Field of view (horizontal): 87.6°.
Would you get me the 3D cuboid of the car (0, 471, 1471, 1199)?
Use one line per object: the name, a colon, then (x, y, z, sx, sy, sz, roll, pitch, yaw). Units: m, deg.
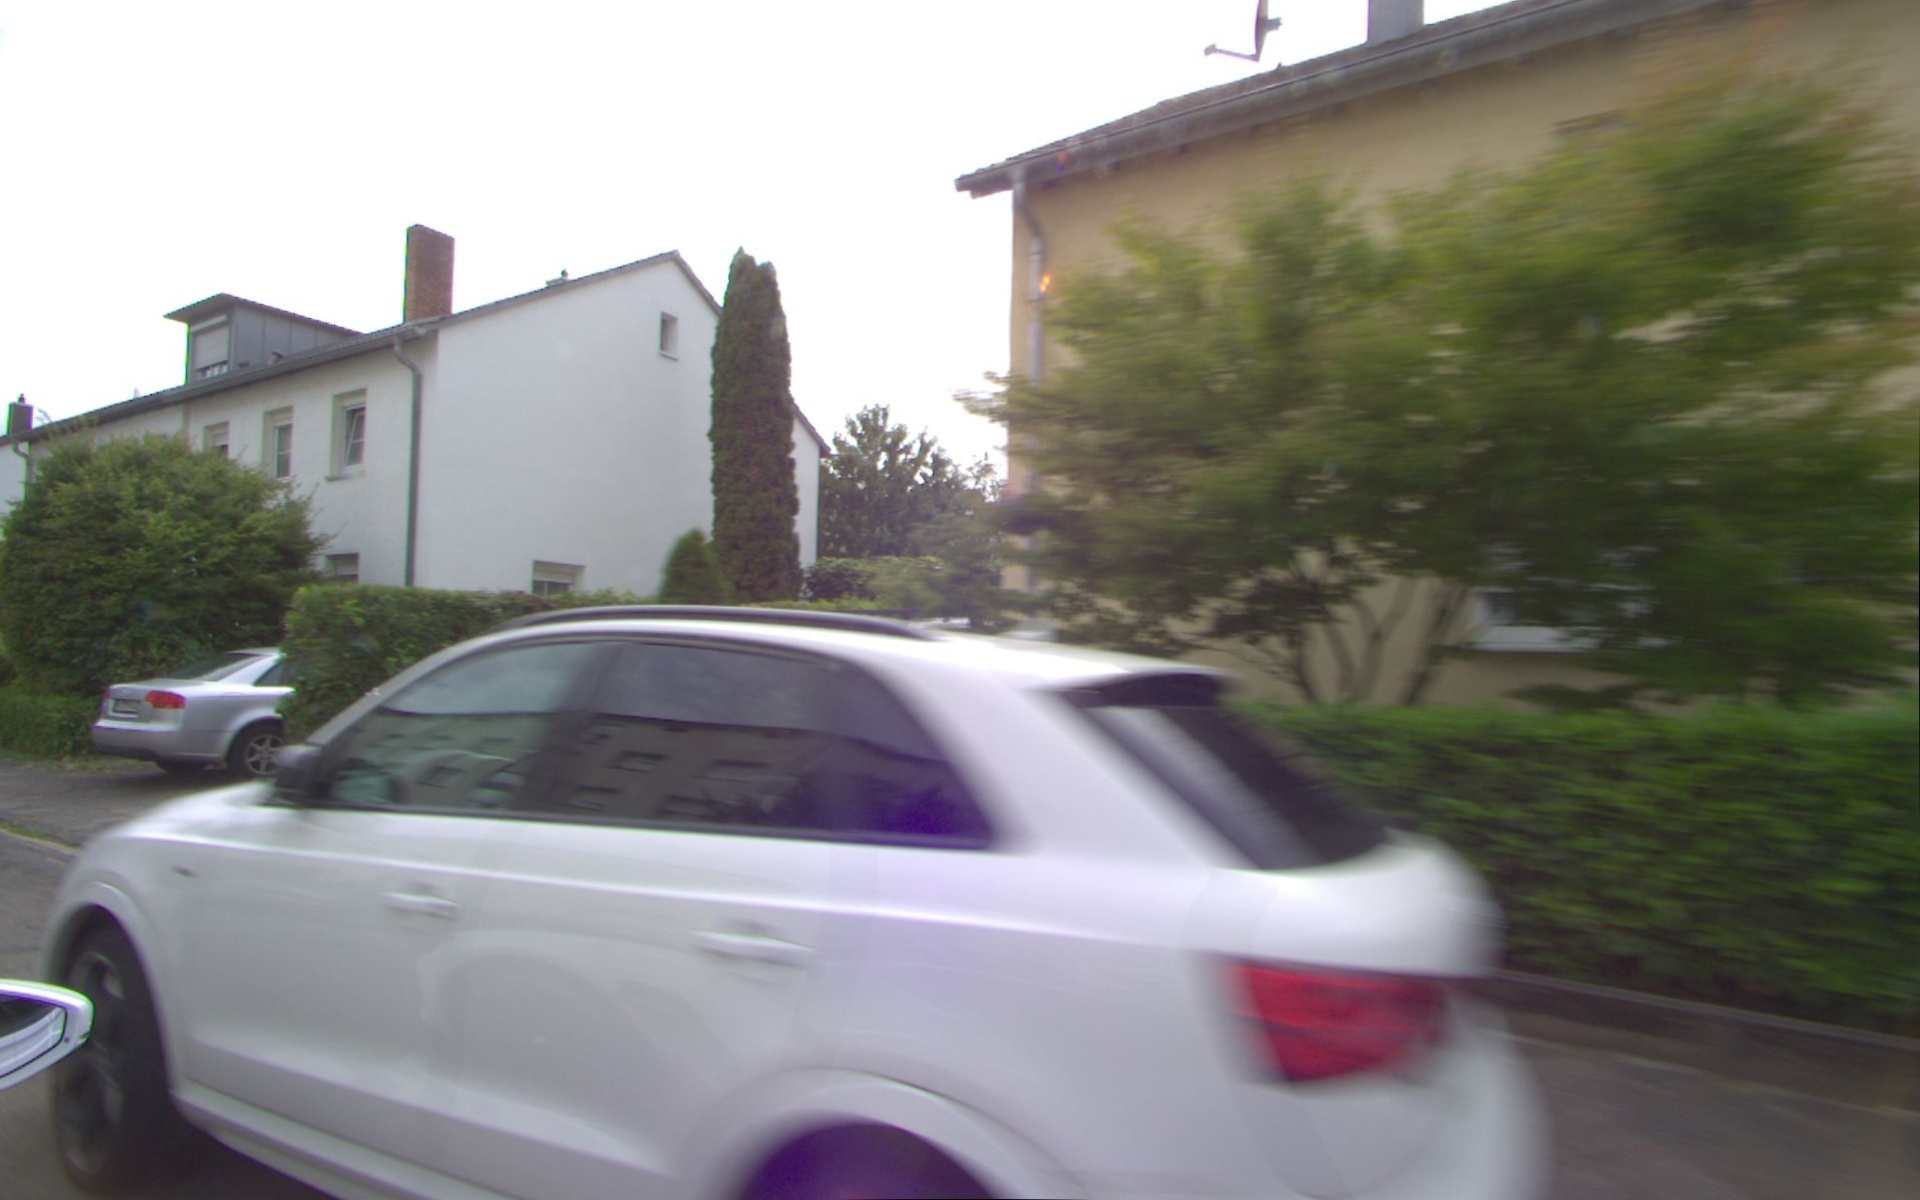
car: (-0.864, 0.784, 2.871, 4.099, 1.655, 1.825, 0, -5, 29)

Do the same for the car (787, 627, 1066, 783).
car: (-0.302, 1.407, 14.170, 1.972, 1.850, 4.059, 0, -4, 33)

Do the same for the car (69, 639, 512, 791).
car: (-7.668, 1.202, 11.936, 1.823, 1.445, 4.021, 0, -2, 26)

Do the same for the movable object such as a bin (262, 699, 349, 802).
movable object such as a bin: (-6.322, 1.435, 9.678, 0.493, 0.932, 0.509, 0, -3, 31)
